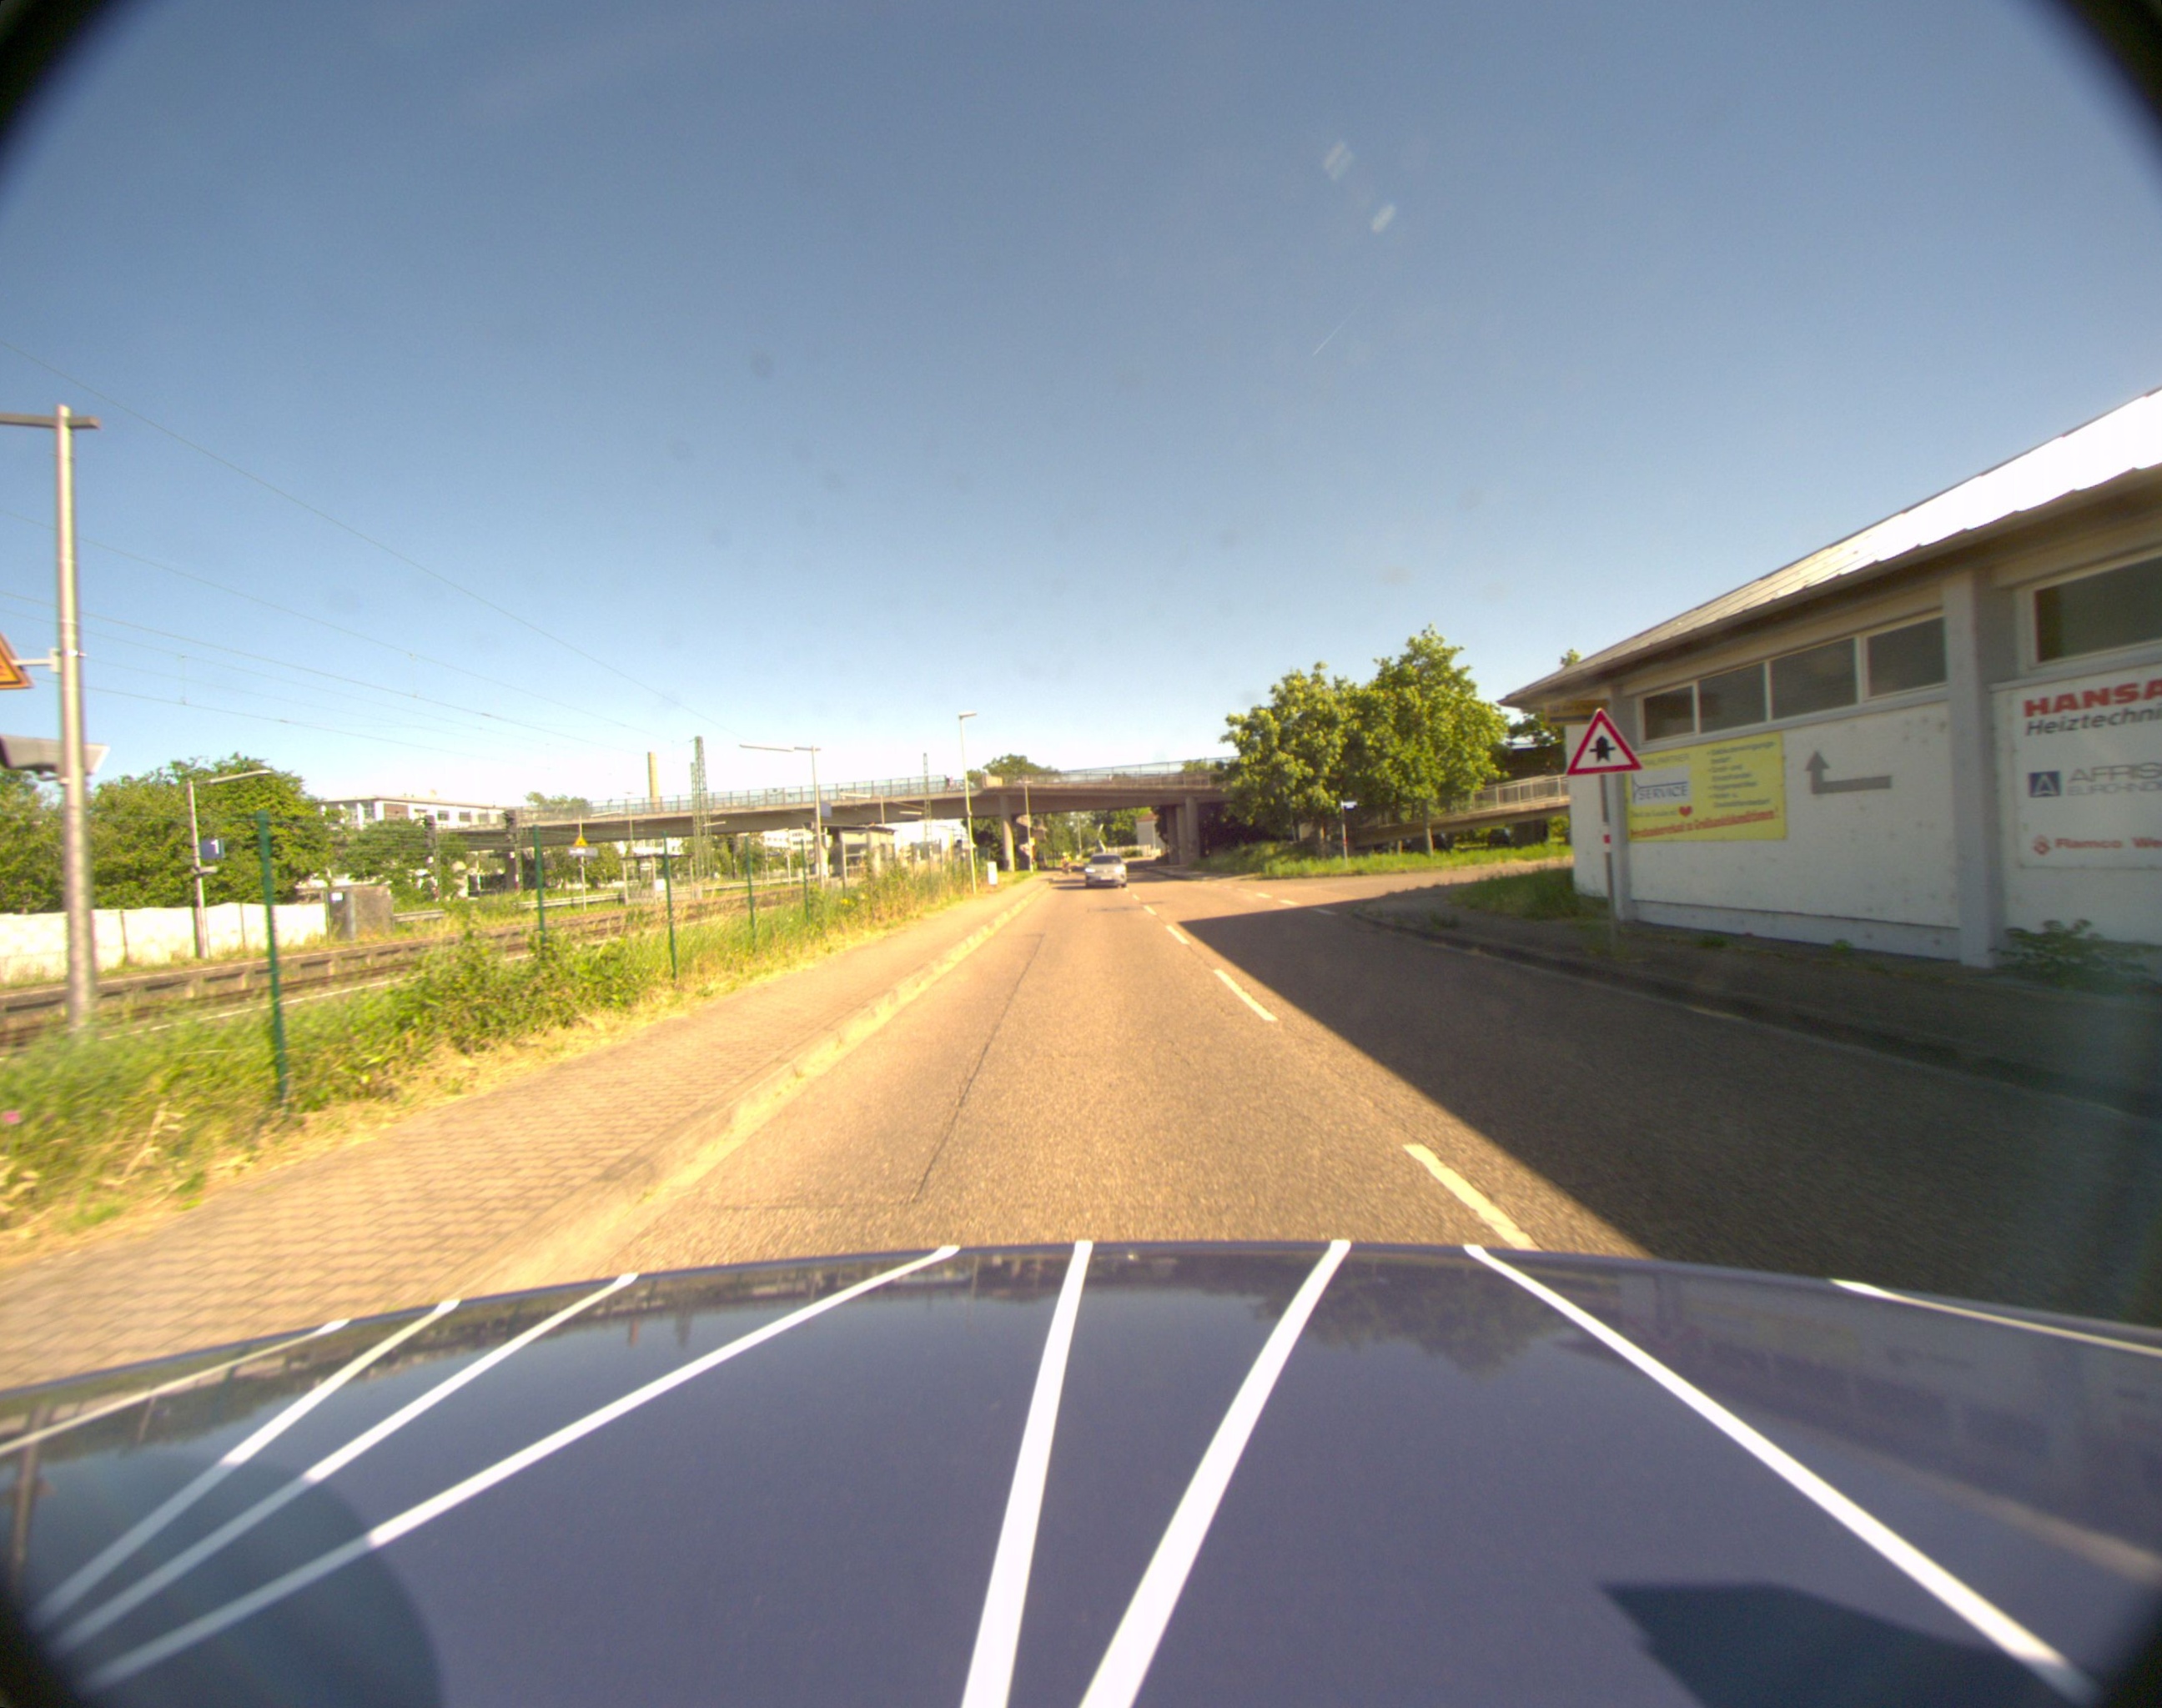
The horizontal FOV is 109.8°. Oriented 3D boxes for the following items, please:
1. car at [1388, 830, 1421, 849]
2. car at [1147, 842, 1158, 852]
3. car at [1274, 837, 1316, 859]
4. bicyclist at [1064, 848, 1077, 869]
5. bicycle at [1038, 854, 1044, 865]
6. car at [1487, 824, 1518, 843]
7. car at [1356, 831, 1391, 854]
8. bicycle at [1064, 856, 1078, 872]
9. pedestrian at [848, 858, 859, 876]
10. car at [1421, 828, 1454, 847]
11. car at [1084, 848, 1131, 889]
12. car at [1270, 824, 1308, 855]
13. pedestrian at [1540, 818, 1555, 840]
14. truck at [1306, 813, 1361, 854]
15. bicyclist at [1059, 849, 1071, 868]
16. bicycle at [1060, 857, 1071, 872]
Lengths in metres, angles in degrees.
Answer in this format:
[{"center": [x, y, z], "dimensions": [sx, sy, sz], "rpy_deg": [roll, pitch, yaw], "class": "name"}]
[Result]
[{"center": [28.298, -1.290, 66.482], "dimensions": [1.736, 1.434, 4.258], "rpy_deg": [-3, 1, 35], "class": "car"}, {"center": [14.112, -1.345, 149.980], "dimensions": [1.998, 1.767, 4.367], "rpy_deg": [-3, 1, 6], "class": "car"}, {"center": [16.908, -0.513, 59.967], "dimensions": [1.864, 1.632, 4.290], "rpy_deg": [0, 2, 35], "class": "car"}, {"center": [-0.764, 0.328, 55.826], "dimensions": [0.843, 1.480, 0.923], "rpy_deg": [-3, 1, -3], "class": "bicyclist"}, {"center": [-4.484, 0.634, 85.552], "dimensions": [0.599, 1.175, 2.180], "rpy_deg": [-3, 1, -5], "class": "bicycle"}, {"center": [34.730, -1.701, 62.549], "dimensions": [1.736, 1.434, 4.258], "rpy_deg": [-3, 1, 35], "class": "car"}, {"center": [21.615, -0.881, 56.046], "dimensions": [1.679, 1.543, 4.305], "rpy_deg": [-3, 1, 31], "class": "car"}, {"center": [-0.747, 0.725, 55.845], "dimensions": [0.843, 1.045, 2.189], "rpy_deg": [-3, 1, -3], "class": "bicycle"}, {"center": [-26.557, 1.540, 88.618], "dimensions": [0.895, 2.002, 0.835], "rpy_deg": [-3, 1, -2], "class": "pedestrian"}, {"center": [30.537, -1.449, 65.042], "dimensions": [1.736, 1.434, 4.258], "rpy_deg": [-3, 1, 35], "class": "car"}, {"center": [1.127, 0.587, 34.314], "dimensions": [1.850, 1.621, 4.294], "rpy_deg": [-4, 1, 0], "class": "car"}, {"center": [19.695, -1.362, 71.750], "dimensions": [1.942, 2.665, 6.020], "rpy_deg": [-3, 0, 30], "class": "car"}, {"center": [35.826, -1.921, 58.339], "dimensions": [0.668, 1.653, 0.711], "rpy_deg": [-3, 1, 12], "class": "pedestrian"}, {"center": [23.973, -2.012, 71.910], "dimensions": [2.476, 3.531, 7.982], "rpy_deg": [-3, 1, 36], "class": "truck"}, {"center": [-1.235, 0.339, 59.068], "dimensions": [0.843, 1.480, 0.923], "rpy_deg": [-3, 1, -2], "class": "bicyclist"}, {"center": [-1.208, 0.786, 59.051], "dimensions": [0.843, 1.045, 2.189], "rpy_deg": [-3, 1, -2], "class": "bicycle"}]
